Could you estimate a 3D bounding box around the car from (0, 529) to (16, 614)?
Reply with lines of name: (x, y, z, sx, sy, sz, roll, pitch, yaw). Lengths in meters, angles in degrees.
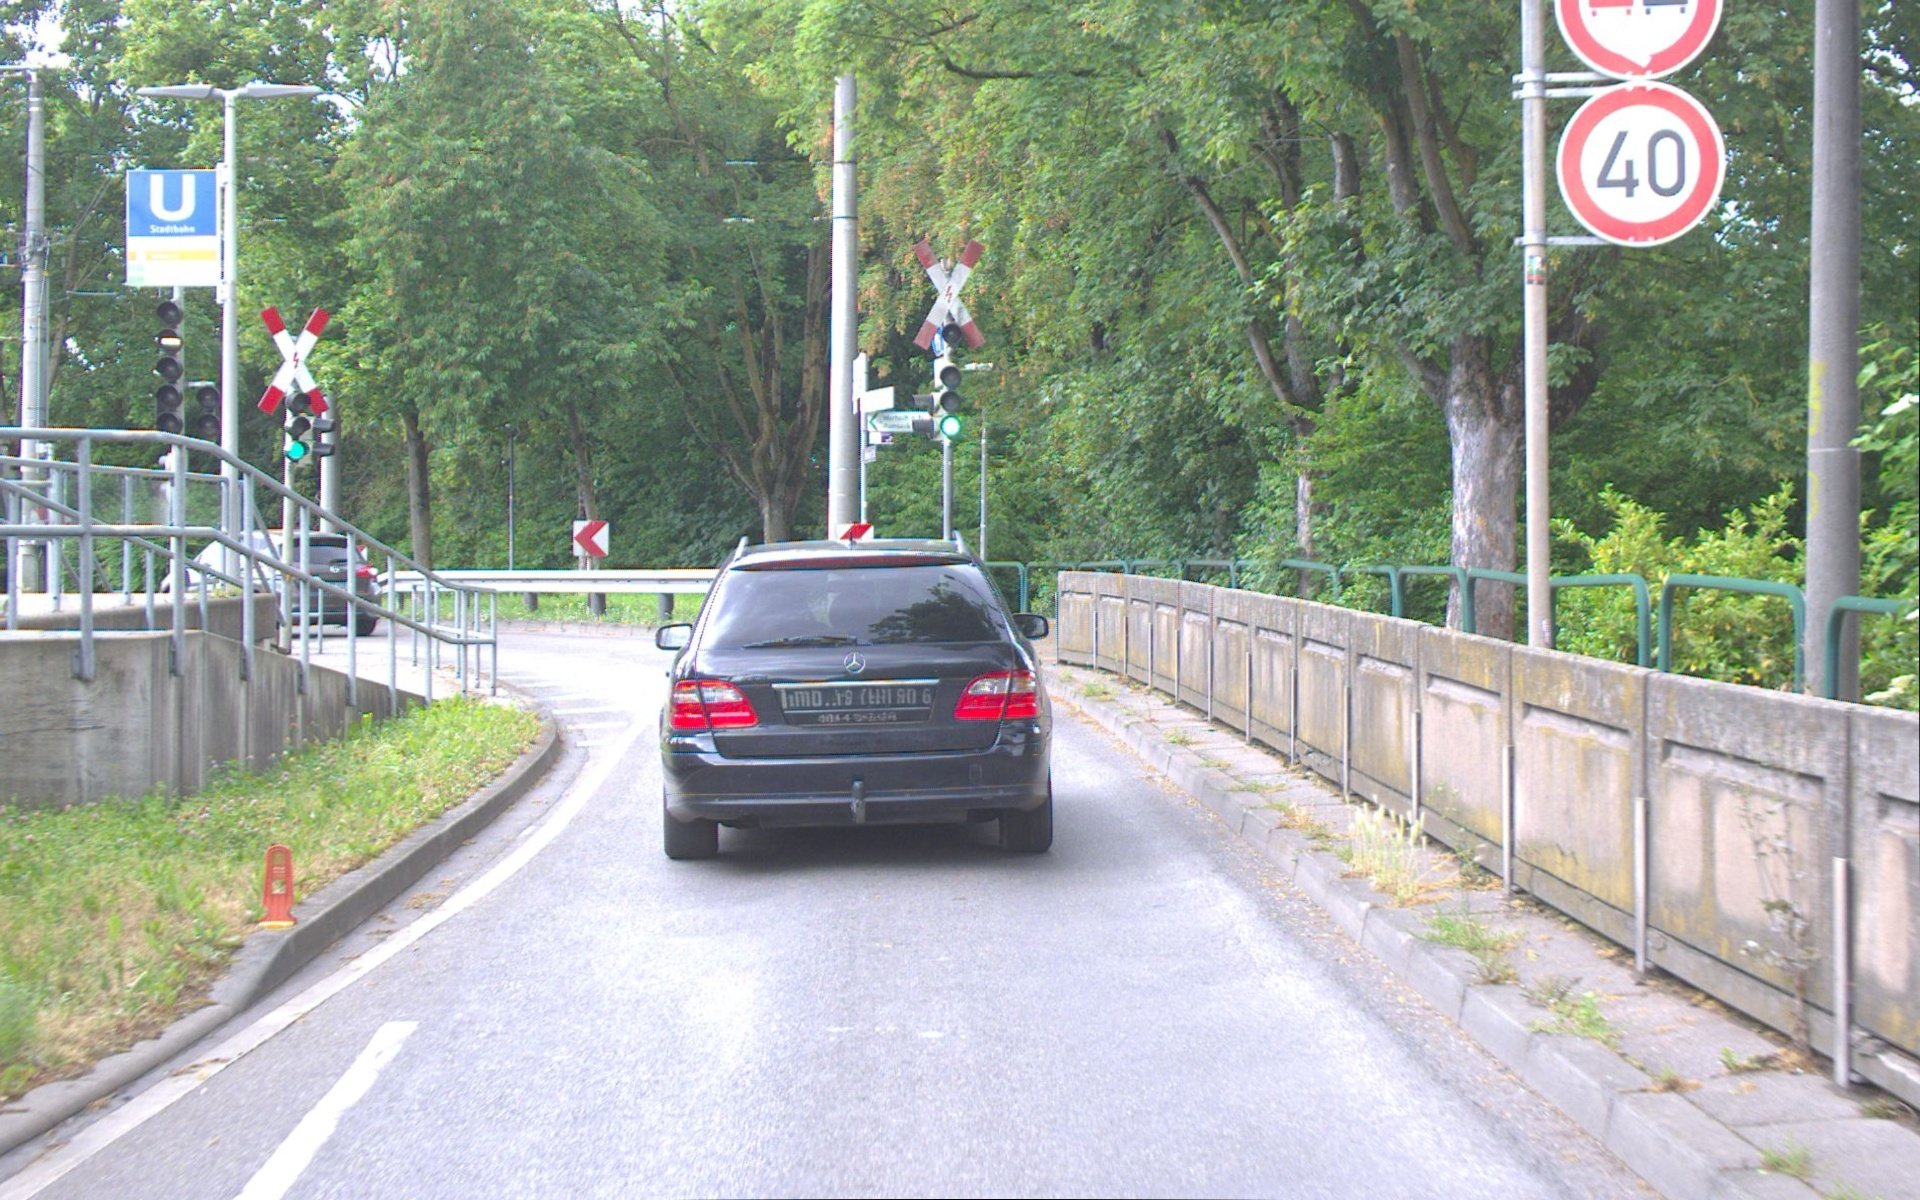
car: (-17.699, -0.492, 57.283, 3.997, 1.394, 1.995, 2, 2, 43)

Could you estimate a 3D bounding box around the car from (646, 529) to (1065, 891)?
car: (-0.598, 0.428, 16.772, 1.781, 1.520, 4.001, -1, 1, -4)

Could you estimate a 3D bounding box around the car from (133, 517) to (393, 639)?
car: (-9.868, -0.342, 48.504, 1.783, 1.642, 3.998, -1, 1, -42)
